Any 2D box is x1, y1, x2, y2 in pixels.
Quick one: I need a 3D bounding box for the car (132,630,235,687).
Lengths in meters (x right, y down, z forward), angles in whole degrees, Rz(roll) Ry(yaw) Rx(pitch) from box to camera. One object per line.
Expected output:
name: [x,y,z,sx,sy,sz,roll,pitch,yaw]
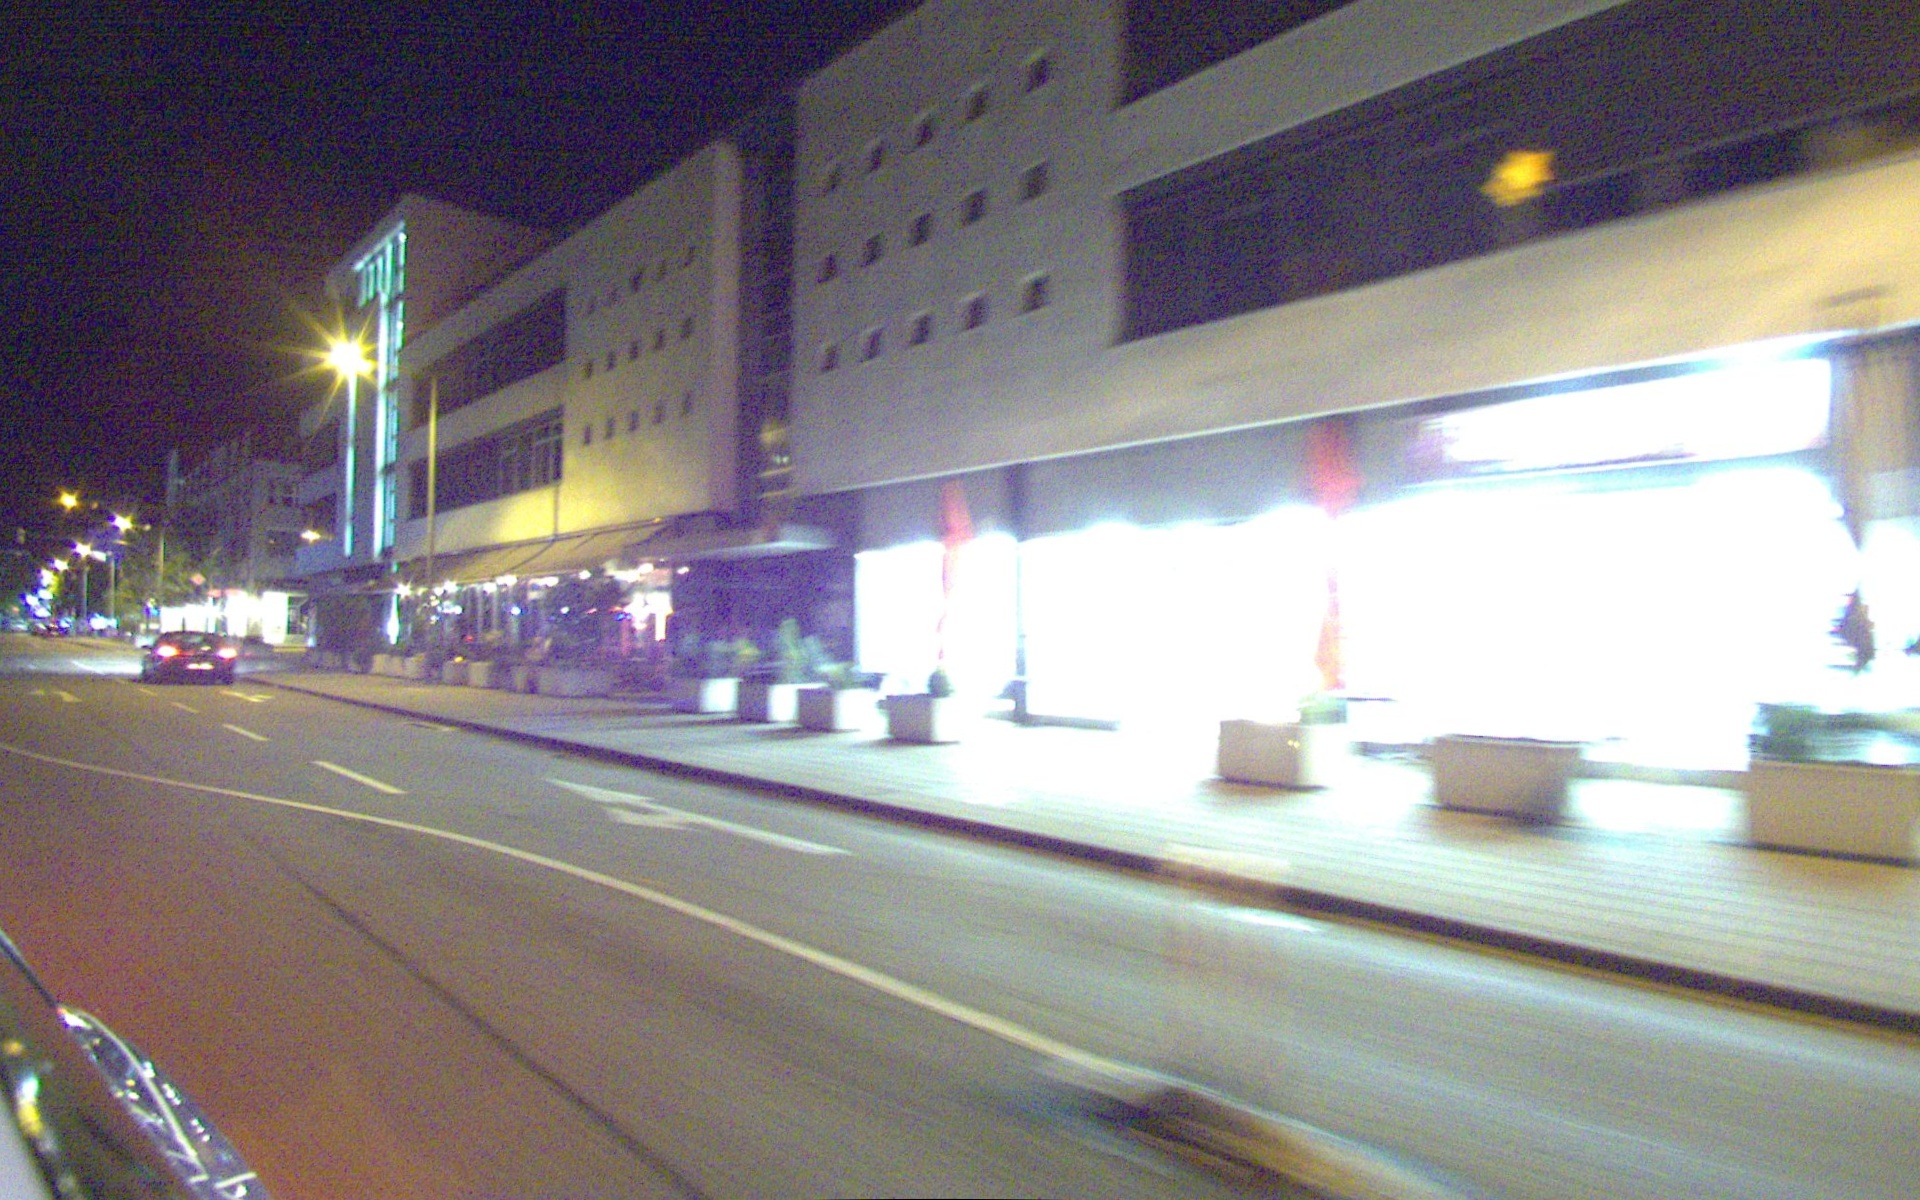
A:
car: [-21.430,1.586,27.891,4.002,1.439,1.648,-1,-5,45]
